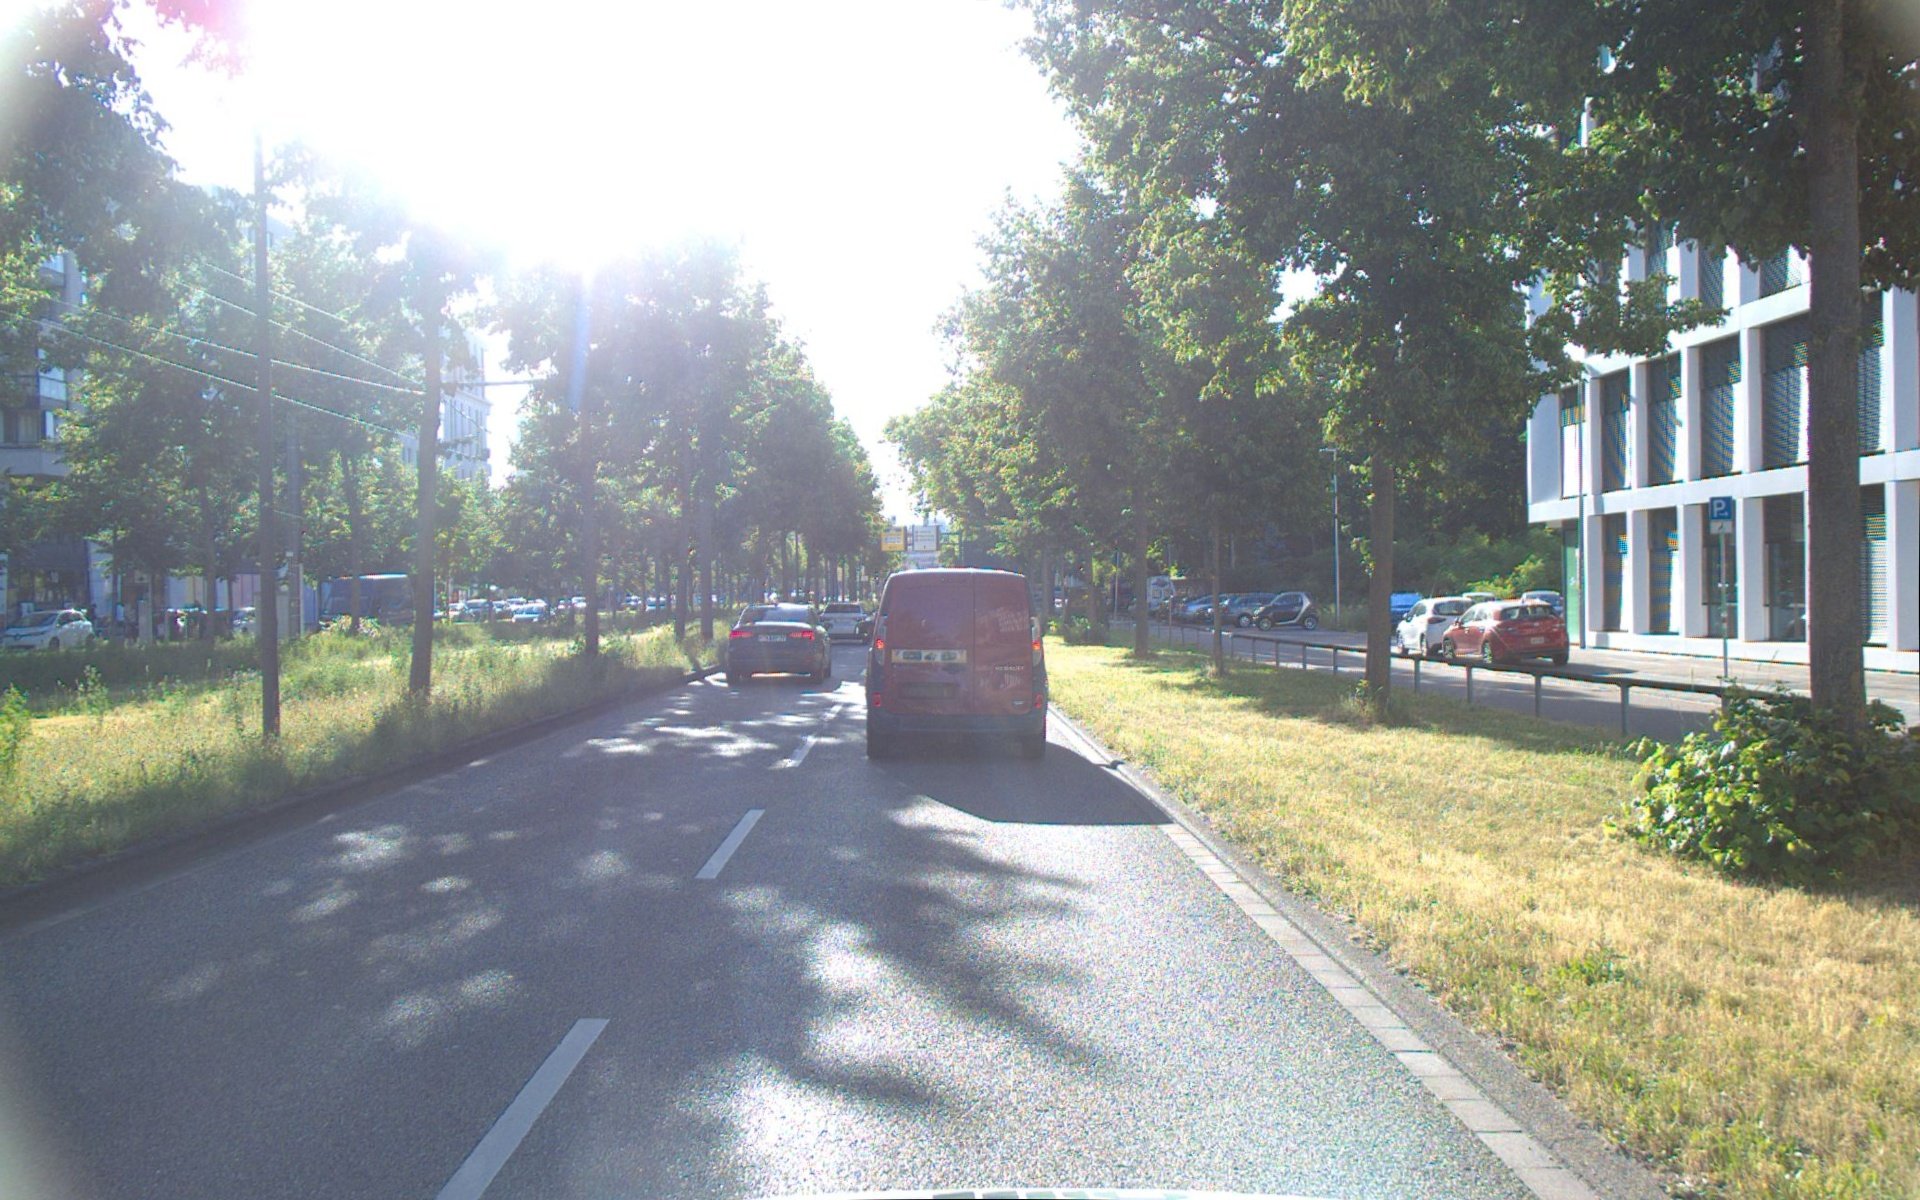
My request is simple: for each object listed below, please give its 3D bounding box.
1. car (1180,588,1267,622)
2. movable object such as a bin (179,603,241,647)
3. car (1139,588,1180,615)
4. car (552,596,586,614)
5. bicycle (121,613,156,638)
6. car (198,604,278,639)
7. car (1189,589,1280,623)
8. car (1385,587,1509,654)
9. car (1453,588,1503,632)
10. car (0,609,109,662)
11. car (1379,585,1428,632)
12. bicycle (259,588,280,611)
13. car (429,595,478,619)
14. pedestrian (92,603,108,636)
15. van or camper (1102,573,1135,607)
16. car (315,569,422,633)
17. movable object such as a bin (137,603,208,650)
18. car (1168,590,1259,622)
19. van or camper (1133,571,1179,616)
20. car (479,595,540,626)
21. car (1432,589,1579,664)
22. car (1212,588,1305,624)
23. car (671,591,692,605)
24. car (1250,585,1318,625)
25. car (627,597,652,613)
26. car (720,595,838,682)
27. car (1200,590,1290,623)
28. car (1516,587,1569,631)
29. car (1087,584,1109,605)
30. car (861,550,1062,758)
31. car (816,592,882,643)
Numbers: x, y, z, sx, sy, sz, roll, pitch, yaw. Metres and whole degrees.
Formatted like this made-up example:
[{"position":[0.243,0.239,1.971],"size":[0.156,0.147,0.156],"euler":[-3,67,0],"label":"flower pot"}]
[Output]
[{"position":[14.036,0.254,88.370],"size":[4.291,1.435,2.000],"euler":[-5,0,1],"label":"car"},{"position":[-31.884,1.068,70.366],"size":[1.931,1.826,1.555],"euler":[1,0,-3],"label":"movable object such as a bin"},{"position":[12.290,0.103,101.983],"size":[1.953,1.601,3.999],"euler":[1,0,-2],"label":"car"},{"position":[-33.647,0.457,142.366],"size":[1.918,1.466,4.264],"euler":[1,0,-1],"label":"car"},{"position":[-39.338,1.211,79.248],"size":[0.850,1.156,2.371],"euler":[1,0,-11],"label":"bicycle"},{"position":[-32.222,0.949,73.935],"size":[1.954,1.466,4.016],"euler":[1,0,-4],"label":"car"},{"position":[14.223,0.288,85.809],"size":[4.244,1.503,1.905],"euler":[-3,1,-5],"label":"car"},{"position":[12.556,0.507,42.931],"size":[1.952,1.512,4.403],"euler":[-4,0,1],"label":"car"},{"position":[19.439,0.388,62.143],"size":[1.710,1.563,3.883],"euler":[1,0,17],"label":"car"},{"position":[-32.112,1.223,58.488],"size":[1.954,1.759,4.335],"euler":[1,0,-4],"label":"car"},{"position":[16.771,0.295,62.427],"size":[1.560,1.572,3.822],"euler":[-1,1,18],"label":"car"},{"position":[-39.505,-0.049,94.620],"size":[0.586,1.303,1.607],"euler":[1,0,-3],"label":"bicycle"},{"position":[-33.131,0.457,108.245],"size":[1.954,1.466,4.776],"euler":[1,0,-4],"label":"car"},{"position":[-41.134,0.944,79.120],"size":[0.493,1.576,0.519],"euler":[0,-1,41],"label":"pedestrian"},{"position":[13.693,-0.888,142.973],"size":[2.503,2.731,6.568],"euler":[-3,0,3],"label":"van or camper"},{"position":[-23.723,0.042,66.659],"size":[2.456,2.423,6.023],"euler":[1,0,-4],"label":"car"},{"position":[-31.647,1.056,66.514],"size":[1.931,1.826,2.009],"euler":[1,0,-4],"label":"movable object such as a bin"},{"position":[13.942,0.343,91.274],"size":[4.624,1.430,2.000],"euler":[-4,0,-1],"label":"car"},{"position":[12.767,-0.399,107.896],"size":[1.954,2.778,4.960],"euler":[-3,0,-4],"label":"van or camper"},{"position":[-21.865,0.499,80.447],"size":[1.954,1.466,4.453],"euler":[1,0,-3],"label":"car"},{"position":[12.406,0.589,37.909],"size":[1.827,1.512,4.271],"euler":[-3,0,-1],"label":"car"},{"position":[13.868,0.290,76.927],"size":[3.996,1.493,1.715],"euler":[-2,0,0],"label":"car"},{"position":[-35.299,-0.239,209.655],"size":[1.953,1.636,4.610],"euler":[1,0,0],"label":"car"},{"position":[13.545,0.199,69.229],"size":[2.707,1.577,1.463],"euler":[-2,-1,8],"label":"car"},{"position":[-36.163,0.567,186.826],"size":[1.841,1.649,4.610],"euler":[1,0,0],"label":"car"},{"position":[-3.233,0.669,30.231],"size":[1.755,1.453,3.999],"euler":[1,0,-1],"label":"car"},{"position":[14.164,0.308,82.279],"size":[4.108,1.524,1.781],"euler":[-1,0,-4],"label":"car"},{"position":[21.606,0.339,61.443],"size":[1.681,1.567,3.953],"euler":[1,0,17],"label":"car"},{"position":[13.742,-0.523,164.780],"size":[2.043,2.049,4.945],"euler":[0,0,4],"label":"car"},{"position":[-0.099,0.502,17.033],"size":[1.773,1.870,3.997],"euler":[1,0,-4],"label":"car"},{"position":[-3.689,0.576,55.589],"size":[1.953,1.646,3.999],"euler":[1,0,-1],"label":"car"}]
